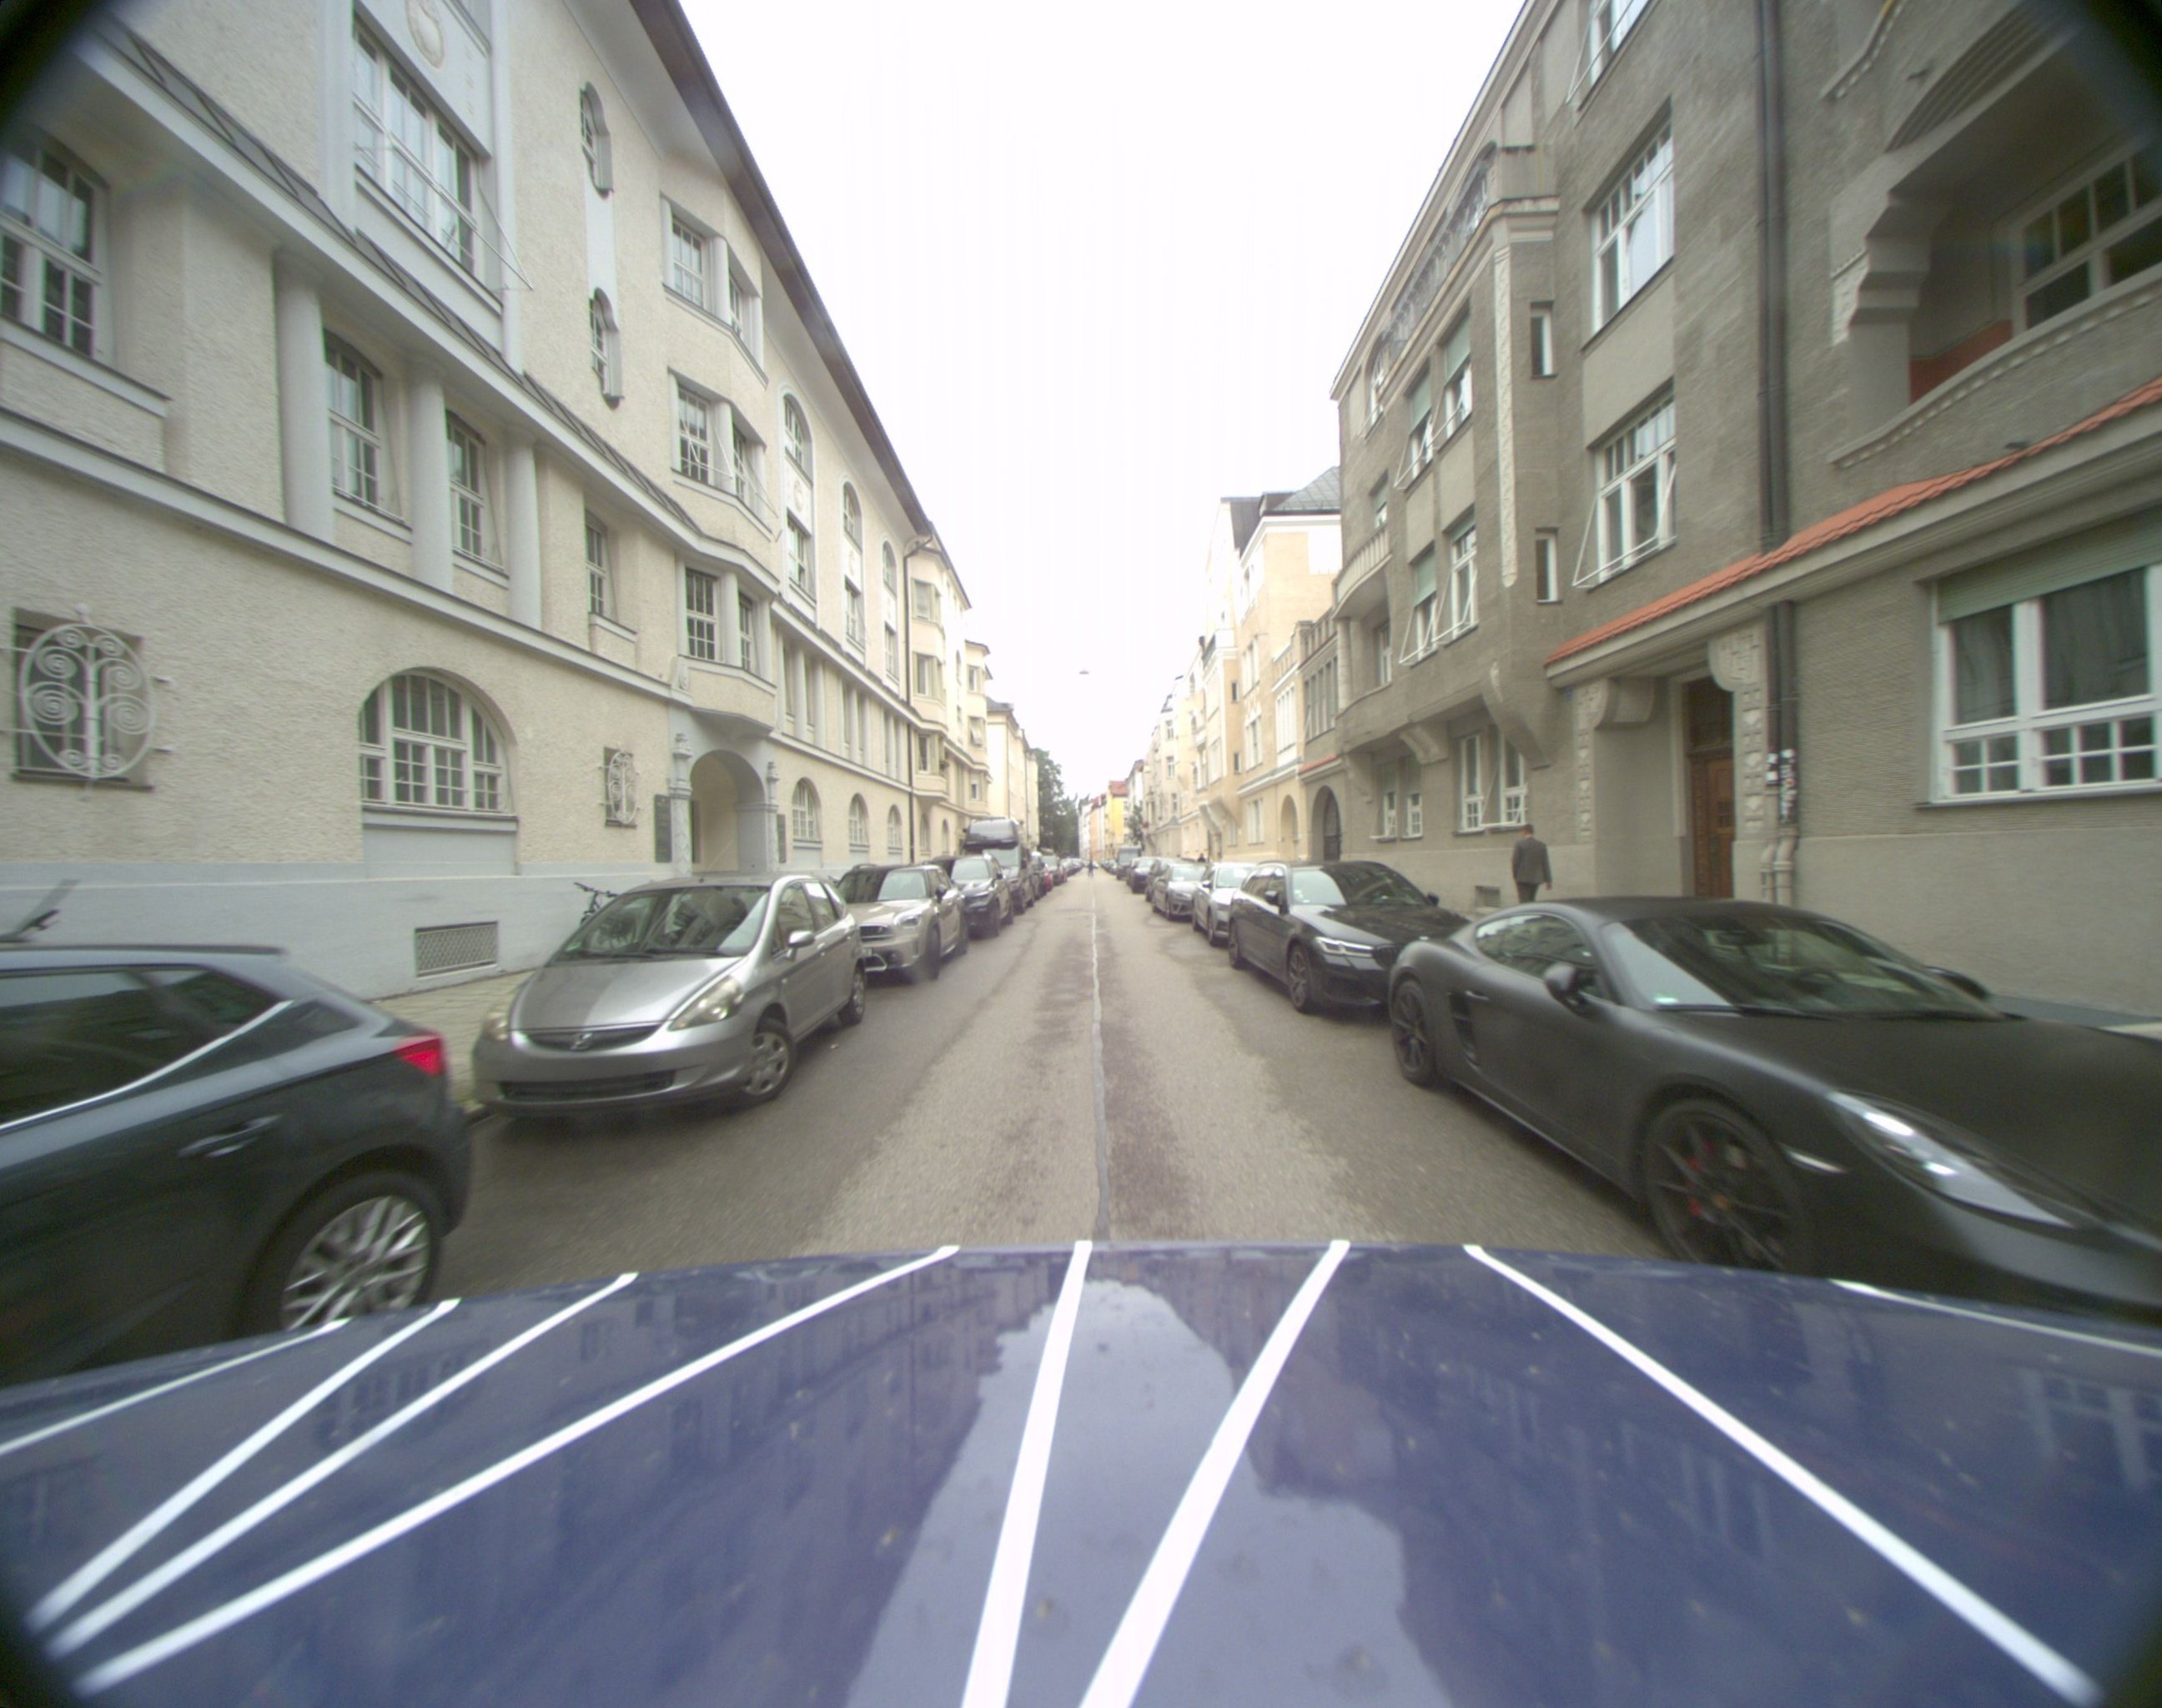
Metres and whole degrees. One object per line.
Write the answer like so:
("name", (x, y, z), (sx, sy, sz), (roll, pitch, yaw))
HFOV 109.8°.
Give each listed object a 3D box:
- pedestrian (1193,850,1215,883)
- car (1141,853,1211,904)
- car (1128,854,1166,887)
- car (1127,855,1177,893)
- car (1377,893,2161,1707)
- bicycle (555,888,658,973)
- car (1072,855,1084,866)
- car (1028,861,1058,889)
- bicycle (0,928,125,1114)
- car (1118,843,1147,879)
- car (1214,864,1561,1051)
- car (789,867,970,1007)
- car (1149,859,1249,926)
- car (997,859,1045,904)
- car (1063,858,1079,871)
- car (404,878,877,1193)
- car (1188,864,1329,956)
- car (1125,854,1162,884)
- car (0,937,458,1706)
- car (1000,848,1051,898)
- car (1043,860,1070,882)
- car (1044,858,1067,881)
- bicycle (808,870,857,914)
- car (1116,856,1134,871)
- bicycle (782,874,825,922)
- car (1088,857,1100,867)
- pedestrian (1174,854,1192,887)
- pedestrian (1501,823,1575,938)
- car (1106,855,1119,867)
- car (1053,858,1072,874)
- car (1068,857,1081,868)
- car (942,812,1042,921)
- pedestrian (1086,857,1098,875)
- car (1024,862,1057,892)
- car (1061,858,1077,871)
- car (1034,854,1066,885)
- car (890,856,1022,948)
("pedestrian", (6.627, 0.690, 40.888), (0.995, 1.718, 0.939), (-2, 0, 1))
("car", (3.183, 0.781, 26.142), (1.807, 1.563, 3.813), (-2, 0, -1))
("car", (3.518, 0.851, 41.159), (1.736, 1.633, 4.102), (-2, 0, 1))
("car", (3.272, 0.886, 35.742), (1.955, 1.649, 4.618), (-1, 0, 1))
("car", (2.931, 0.960, 3.338), (1.759, 1.323, 4.097), (-2, 0, 2))
("bicycle", (-7.389, 1.150, 11.930), (0.483, 1.144, 1.788), (-2, 0, -1))
("car", (-0.464, 1.014, 121.340), (1.683, 1.671, 3.645), (-2, 0, 1))
("car", (-2.193, 1.187, 44.732), (1.496, 1.463, 3.675), (-3, 0, 0))
("bicycle", (-7.558, 1.158, 4.973), (0.564, 1.186, 1.676), (1, 0, -4))
("car", (3.965, 0.511, 59.312), (2.104, 2.606, 5.679), (0, 0, 2))
("car", (2.984, 0.895, 8.729), (1.999, 1.440, 4.778), (-1, 0, 0))
("car", (-2.747, 1.041, 11.251), (1.638, 1.582, 3.968), (-2, 0, -1))
("car", (2.934, 0.899, 19.924), (1.842, 1.504, 4.608), (-1, 0, -1))
("car", (-2.296, 1.034, 29.735), (1.546, 1.616, 2.815), (-2, 0, 1))
("car", (-1.202, 1.178, 88.906), (1.683, 1.375, 3.645), (-2, 0, 1))
("car", (-2.913, 1.048, 6.085), (1.638, 1.528, 3.854), (-2, 0, -3))
("car", (3.147, 0.928, 14.394), (1.810, 1.423, 4.440), (0, 0, 2))
("car", (3.697, 0.874, 45.925), (1.877, 1.639, 4.460), (-2, 0, 1))
("car", (-3.074, 1.056, 0.775), (1.638, 1.463, 3.855), (-2, 0, 0))
("car", (-2.420, 0.804, 34.121), (1.800, 2.027, 4.071), (-2, 0, 1))
("car", (-1.768, 1.185, 55.552), (1.731, 1.458, 3.738), (-2, 0, 1))
("car", (-2.041, 1.255, 61.927), (1.683, 1.767, 3.457), (-2, 0, 1))
("bicycle", (-7.078, 1.064, 21.722), (0.482, 1.144, 1.789), (-2, 0, 10))
("car", (4.513, 0.985, 78.798), (1.683, 1.390, 3.705), (-2, 0, 1))
("bicycle", (-7.182, 1.106, 19.751), (0.483, 1.144, 1.788), (1, 0, -1))
("car", (2.407, 1.496, 140.336), (1.999, 1.788, 3.999), (-2, 0, -3))
("pedestrian", (5.569, 0.896, 41.705), (0.837, 1.779, 0.741), (-2, 1, 1))
("pedestrian", (7.417, 0.419, 12.364), (0.718, 1.806, 0.730), (-2, 1, 0))
("car", (4.689, 1.066, 112.431), (1.683, 1.628, 3.705), (-2, 0, -1))
("car", (-1.794, 1.205, 75.048), (1.683, 1.434, 3.645), (-2, 0, 1))
("car", (-0.868, 1.246, 107.494), (1.683, 1.434, 3.645), (-2, 0, 1))
("car", (-2.652, 0.315, 24.366), (2.260, 2.943, 6.131), (-3, 1, 1))
("pedestrian", (0.987, 1.039, 66.544), (1.014, 1.514, 0.715), (-2, 1, 3))
("car", (-2.132, 1.186, 40.656), (1.496, 1.463, 3.503), (-3, 0, 0))
("car", (-1.315, 1.184, 84.620), (1.683, 1.375, 3.645), (-2, 0, 1))
("car", (-2.045, 1.000, 50.684), (1.880, 1.924, 4.663), (-3, 0, 0))
("car", (-2.614, 0.946, 17.149), (1.998, 1.679, 4.674), (-3, 0, 2))
